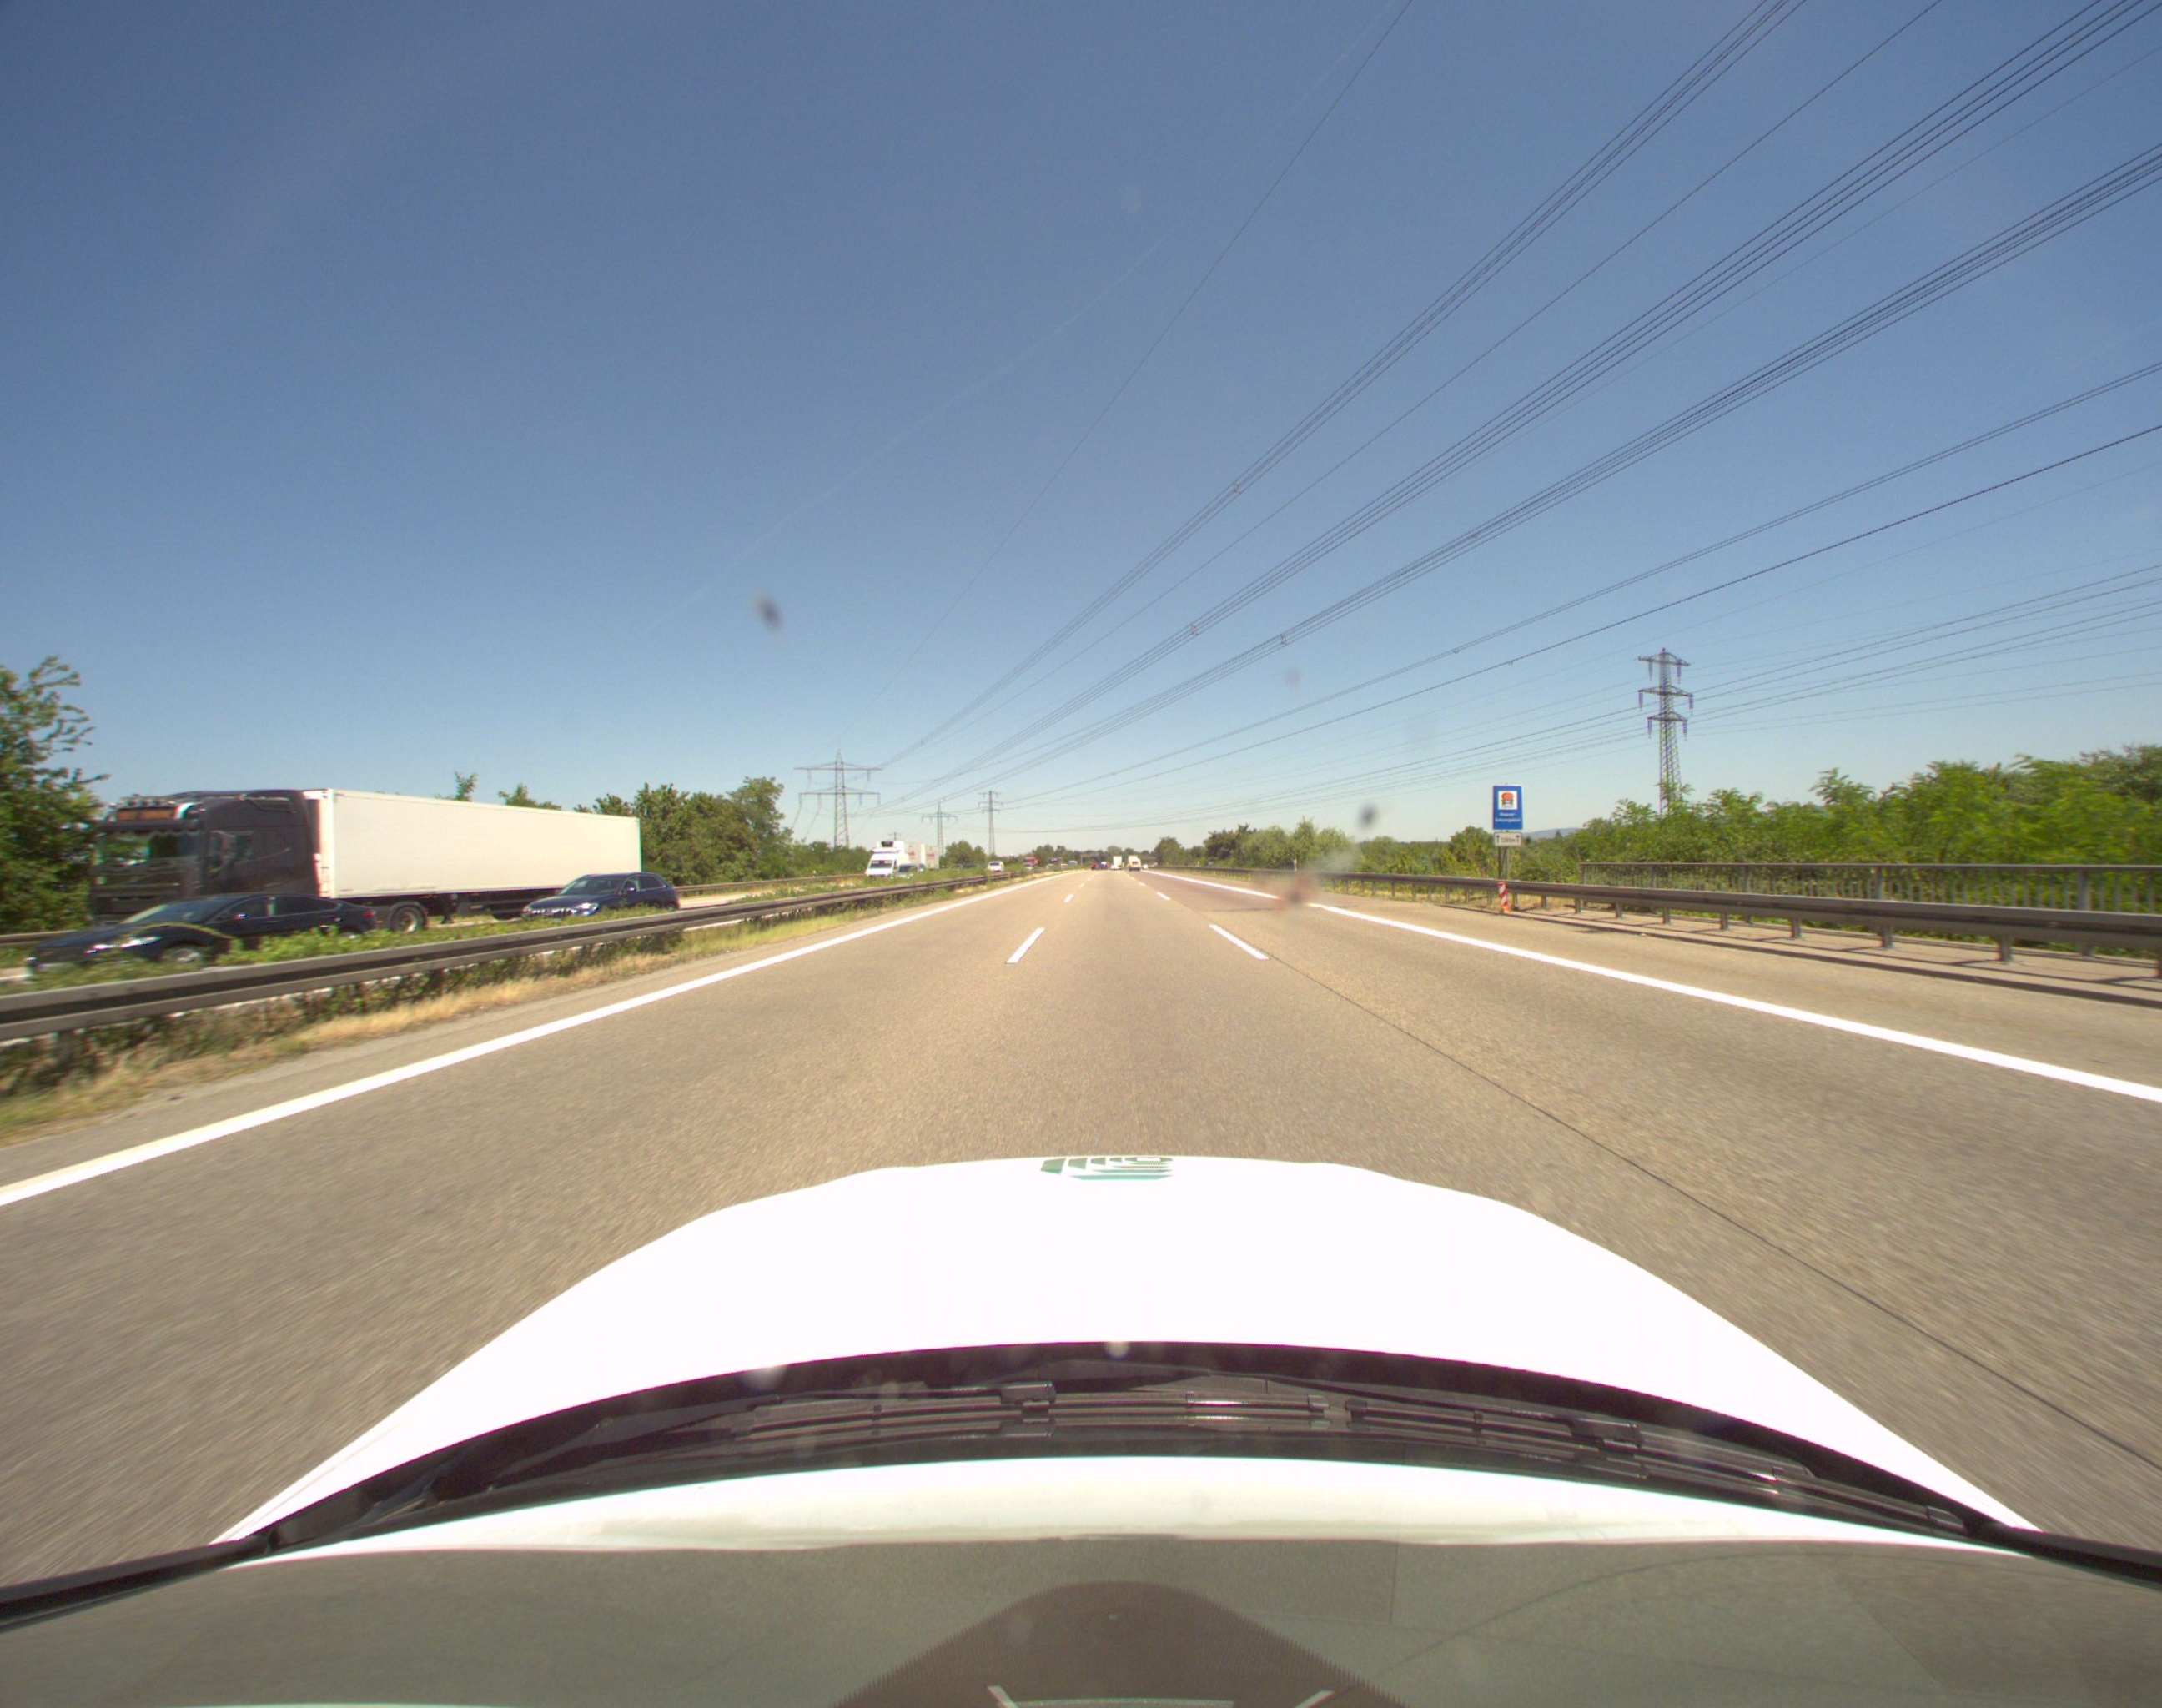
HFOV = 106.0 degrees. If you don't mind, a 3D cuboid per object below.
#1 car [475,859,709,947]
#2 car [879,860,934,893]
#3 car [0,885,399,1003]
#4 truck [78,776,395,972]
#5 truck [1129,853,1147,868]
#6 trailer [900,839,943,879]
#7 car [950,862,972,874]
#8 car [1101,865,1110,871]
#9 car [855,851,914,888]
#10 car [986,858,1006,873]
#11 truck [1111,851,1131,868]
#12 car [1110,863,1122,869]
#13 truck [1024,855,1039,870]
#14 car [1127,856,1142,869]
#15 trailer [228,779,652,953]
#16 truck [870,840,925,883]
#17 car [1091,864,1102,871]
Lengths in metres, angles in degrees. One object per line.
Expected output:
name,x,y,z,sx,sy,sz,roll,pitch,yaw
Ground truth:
car,-12.298,1.114,21.164,2.473,1.931,5.741,0,0,2
car,-11.430,1.436,53.615,2.473,2.013,4.559,0,0,1
car,-15.828,1.481,15.003,2.378,1.640,4.821,0,0,2
truck,-19.858,0.419,19.619,2.414,4.111,4.922,0,0,1
truck,17.006,1.961,242.334,3.159,4.304,16.072,0,0,13
trailer,-17.315,0.554,89.054,2.831,4.164,8.329,0,0,1
car,-16.186,1.898,110.038,1.986,1.585,5.069,0,0,2
car,7.120,4.119,238.917,1.816,1.547,4.333,0,-1,12
car,-14.698,1.091,61.487,2.473,2.579,7.124,0,0,2
car,-12.212,1.604,117.052,1.986,2.013,5.704,0,0,2
truck,12.150,1.617,246.464,3.642,5.018,16.070,0,0,12
car,8.387,2.793,192.793,1.814,1.547,4.337,0,-1,16
truck,-12.185,2.031,202.414,2.759,3.527,8.538,0,0,2
car,9.454,1.487,144.199,2.433,2.321,5.323,-2,0,2
trailer,-19.623,0.292,27.314,2.414,4.289,14.438,0,0,2
truck,-17.723,0.679,79.527,2.682,3.950,10.596,0,0,1
car,3.522,3.179,187.871,1.816,1.547,4.333,0,-1,12
